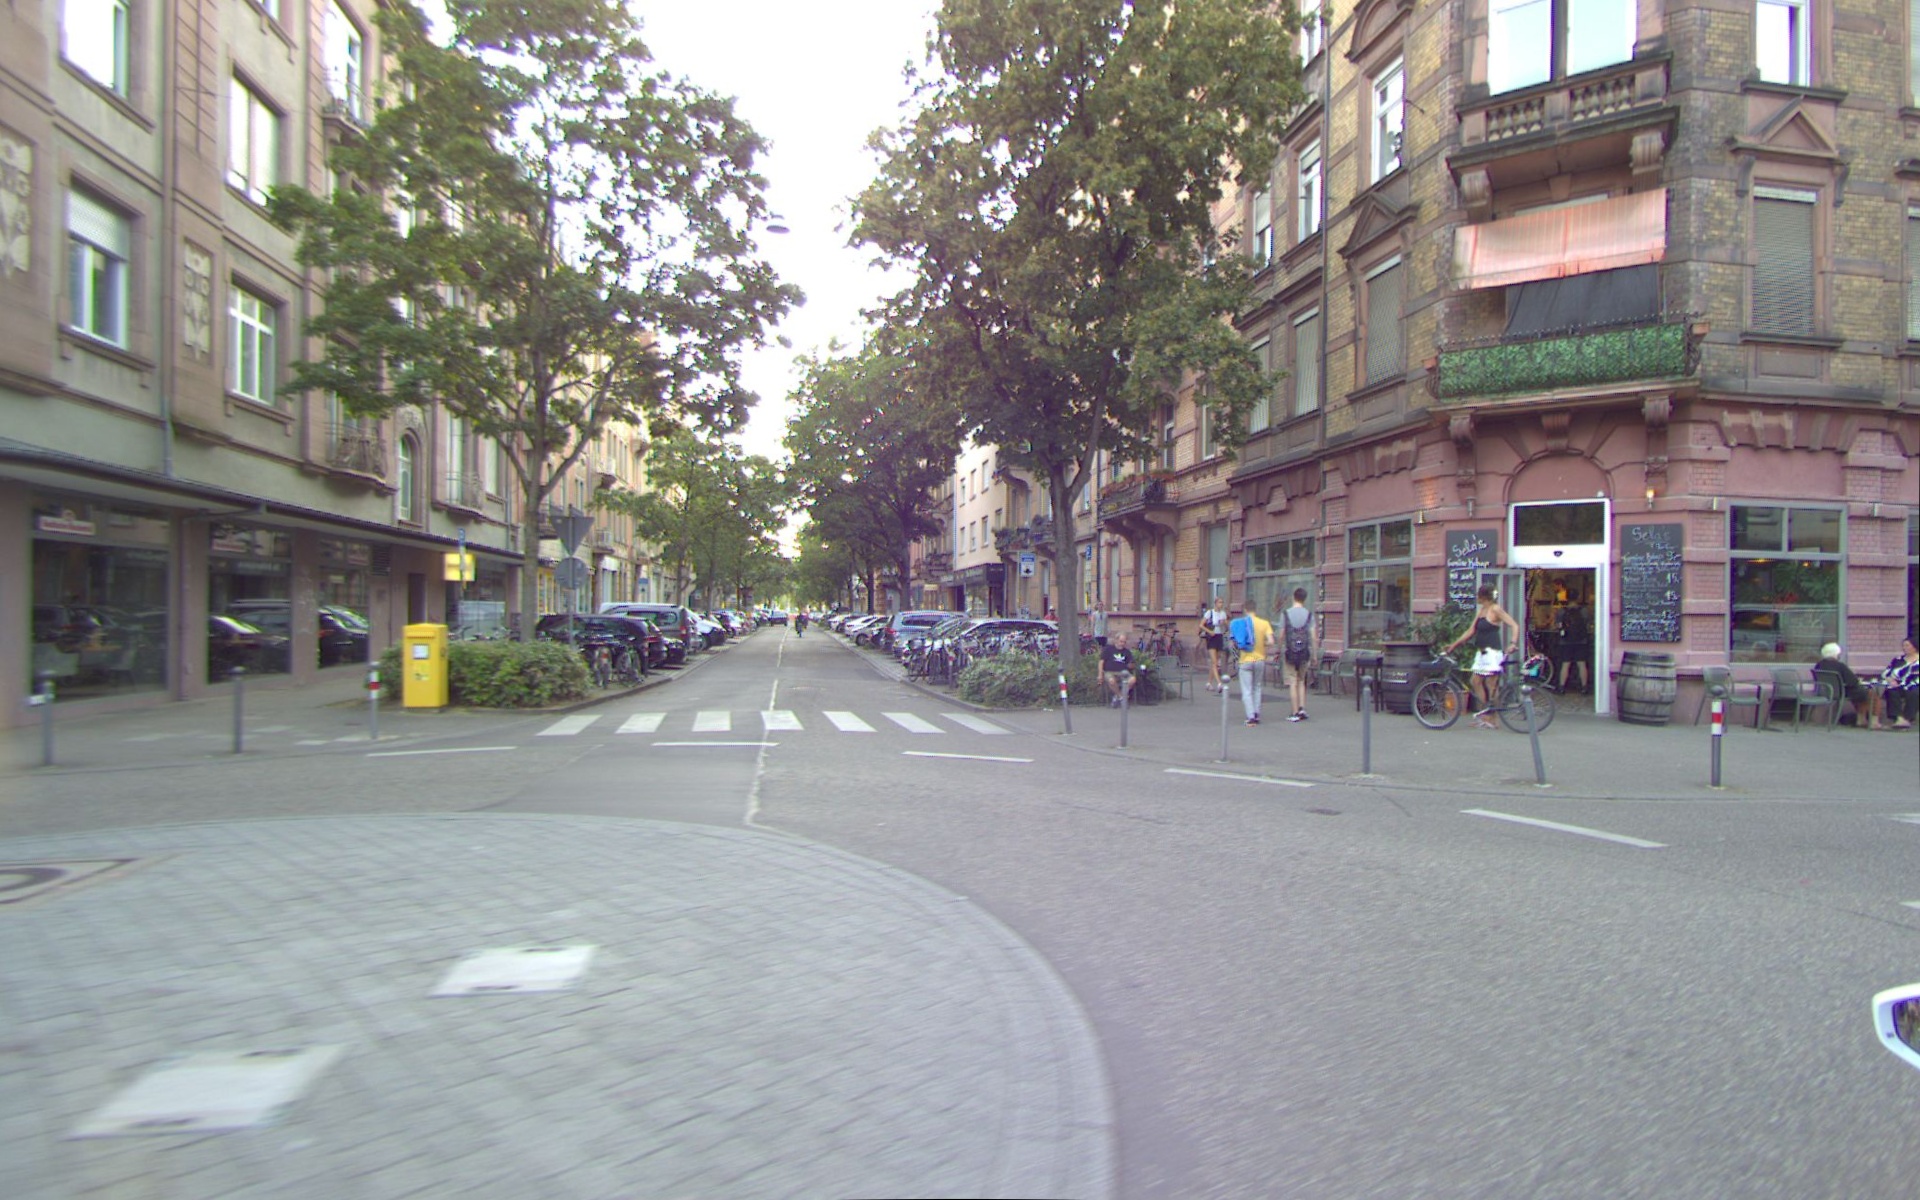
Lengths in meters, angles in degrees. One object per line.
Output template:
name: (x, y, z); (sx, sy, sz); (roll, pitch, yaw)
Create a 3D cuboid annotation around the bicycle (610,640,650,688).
bicycle: (-7.028, 1.348, 21.426); (0.468, 0.907, 1.488); (2, 0, -6)

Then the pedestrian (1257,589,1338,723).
pedestrian: (4.856, 0.780, 14.482); (0.744, 1.853, 0.887); (-2, 1, -9)

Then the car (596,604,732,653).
car: (-12.094, 1.173, 41.313); (5.014, 1.854, 2.115); (2, -2, -7)

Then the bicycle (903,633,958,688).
bicycle: (-0.714, 1.389, 23.485); (0.695, 1.192, 1.944); (-1, 0, -20)

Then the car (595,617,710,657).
car: (-11.021, 1.326, 36.201); (3.744, 1.329, 1.718); (2, -2, -11)

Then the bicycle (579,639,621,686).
bicycle: (-7.659, 1.321, 21.392); (0.468, 0.907, 1.488); (2, 0, -6)

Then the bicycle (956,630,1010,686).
bicycle: (0.520, 1.354, 23.911); (0.677, 1.219, 1.804); (-1, 1, -20)

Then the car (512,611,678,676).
car: (-9.047, 1.087, 25.196); (3.621, 1.496, 1.719); (2, -2, -11)

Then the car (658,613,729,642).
car: (-15.067, 1.550, 56.952); (3.744, 1.528, 1.718); (2, -2, -11)

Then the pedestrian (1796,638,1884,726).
pedestrian: (12.027, 1.112, 13.737); (0.777, 1.158, 0.504); (2, 0, -9)

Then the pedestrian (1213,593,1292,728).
pedestrian: (4.114, 0.825, 14.179); (0.745, 1.815, 0.785); (-2, 1, -12)

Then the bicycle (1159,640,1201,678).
bicycle: (5.613, 1.486, 25.694); (0.587, 0.901, 1.494); (0, -1, -7)

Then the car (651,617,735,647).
car: (-12.928, 1.547, 48.805); (3.744, 1.329, 1.718); (2, -2, -11)

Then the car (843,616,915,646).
car: (-4.777, 1.810, 58.938); (4.056, 1.609, 1.762); (2, 0, -11)

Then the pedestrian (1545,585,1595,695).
pedestrian: (9.961, 0.633, 16.402); (0.654, 1.719, 0.655); (1, 4, 33)

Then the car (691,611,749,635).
car: (-16.340, 1.595, 68.537); (3.744, 1.528, 1.718); (2, -2, -11)

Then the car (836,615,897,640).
car: (-6.551, 1.927, 70.032); (4.056, 1.609, 1.762); (2, 0, -11)

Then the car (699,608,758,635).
car: (-16.943, 1.582, 73.724); (3.924, 1.809, 1.998); (2, 0, -6)

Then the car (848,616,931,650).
car: (-3.665, 1.693, 51.740); (4.056, 1.609, 1.762); (2, 0, -11)

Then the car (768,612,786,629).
car: (-21.196, 2.373, 116.318); (1.909, 1.771, 3.991); (2, 0, -12)

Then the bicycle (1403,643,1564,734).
bicycle: (6.731, 1.112, 12.958); (1.748, 1.039, 0.609); (-1, 1, 40)

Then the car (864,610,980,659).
car: (-1.562, 1.371, 40.335); (4.394, 1.824, 1.973); (2, 0, -11)

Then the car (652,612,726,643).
car: (-14.758, 1.511, 54.850); (3.744, 1.528, 1.718); (2, -2, -11)

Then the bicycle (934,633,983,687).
bicycle: (-0.053, 1.377, 23.627); (0.576, 1.173, 1.800); (-1, 0, -20)

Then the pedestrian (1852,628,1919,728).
pedestrian: (12.999, 1.059, 13.889); (0.896, 1.271, 0.645); (0, 3, -26)

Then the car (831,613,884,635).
car: (-8.176, 1.933, 79.840); (4.056, 1.609, 1.762); (2, 0, -11)

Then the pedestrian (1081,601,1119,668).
pedestrian: (3.774, 0.916, 27.122); (0.683, 1.748, 0.850); (-2, 1, -15)

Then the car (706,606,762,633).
car: (-17.346, 1.481, 77.246); (3.924, 1.895, 1.998); (2, 0, -6)

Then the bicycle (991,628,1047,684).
bicycle: (1.398, 1.317, 24.247); (0.677, 1.235, 1.804); (-1, 1, -20)

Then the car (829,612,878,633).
car: (-9.265, 1.935, 86.996); (4.056, 1.609, 1.762); (2, 0, -11)

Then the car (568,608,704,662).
car: (-10.395, 1.143, 32.520); (3.929, 1.595, 1.905); (2, -2, -11)

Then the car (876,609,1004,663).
car: (-0.779, 1.312, 36.792); (4.394, 1.824, 1.973); (2, 0, -11)

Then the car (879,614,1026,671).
car: (-0.286, 1.349, 32.083); (4.394, 1.647, 1.886); (2, 0, -11)

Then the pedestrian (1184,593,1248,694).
pedestrian: (4.874, 0.803, 19.162); (0.743, 1.835, 1.046); (-2, 1, -15)

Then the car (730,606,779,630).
car: (-17.631, 1.517, 86.345); (3.924, 1.895, 1.998); (2, 0, -6)

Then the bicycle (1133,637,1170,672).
bicycle: (5.265, 1.486, 27.659); (0.587, 0.901, 1.494); (0, -1, -7)

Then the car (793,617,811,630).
car: (-20.195, 2.951, 128.590); (1.854, 1.539, 3.988); (2, 0, -14)

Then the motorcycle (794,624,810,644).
motorcycle: (-10.584, 2.286, 67.303); (0.890, 1.229, 2.503); (2, 0, -12)

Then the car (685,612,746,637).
car: (-16.184, 1.617, 66.607); (3.744, 1.528, 1.718); (2, -2, -11)

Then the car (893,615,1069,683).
car: (0.515, 1.304, 26.940); (4.394, 1.647, 1.886); (2, 0, -11)

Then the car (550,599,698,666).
car: (-10.055, 0.983, 30.361); (3.929, 1.862, 1.996); (2, -2, -11)

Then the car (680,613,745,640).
car: (-15.211, 1.644, 61.894); (3.744, 1.528, 1.718); (2, -2, -11)

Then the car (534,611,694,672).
car: (-9.442, 1.151, 27.748); (3.930, 1.530, 1.848); (2, -2, -12)

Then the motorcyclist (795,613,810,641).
motorcyclist: (-10.566, 1.812, 67.322); (0.890, 1.820, 1.099); (2, 0, -13)

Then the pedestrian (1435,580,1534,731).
pedestrian: (6.865, 0.692, 13.146); (1.007, 1.880, 0.721); (0, 1, 40)

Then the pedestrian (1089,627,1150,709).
pedestrian: (2.718, 1.143, 17.151); (0.723, 1.322, 0.790); (-2, -1, -15)
